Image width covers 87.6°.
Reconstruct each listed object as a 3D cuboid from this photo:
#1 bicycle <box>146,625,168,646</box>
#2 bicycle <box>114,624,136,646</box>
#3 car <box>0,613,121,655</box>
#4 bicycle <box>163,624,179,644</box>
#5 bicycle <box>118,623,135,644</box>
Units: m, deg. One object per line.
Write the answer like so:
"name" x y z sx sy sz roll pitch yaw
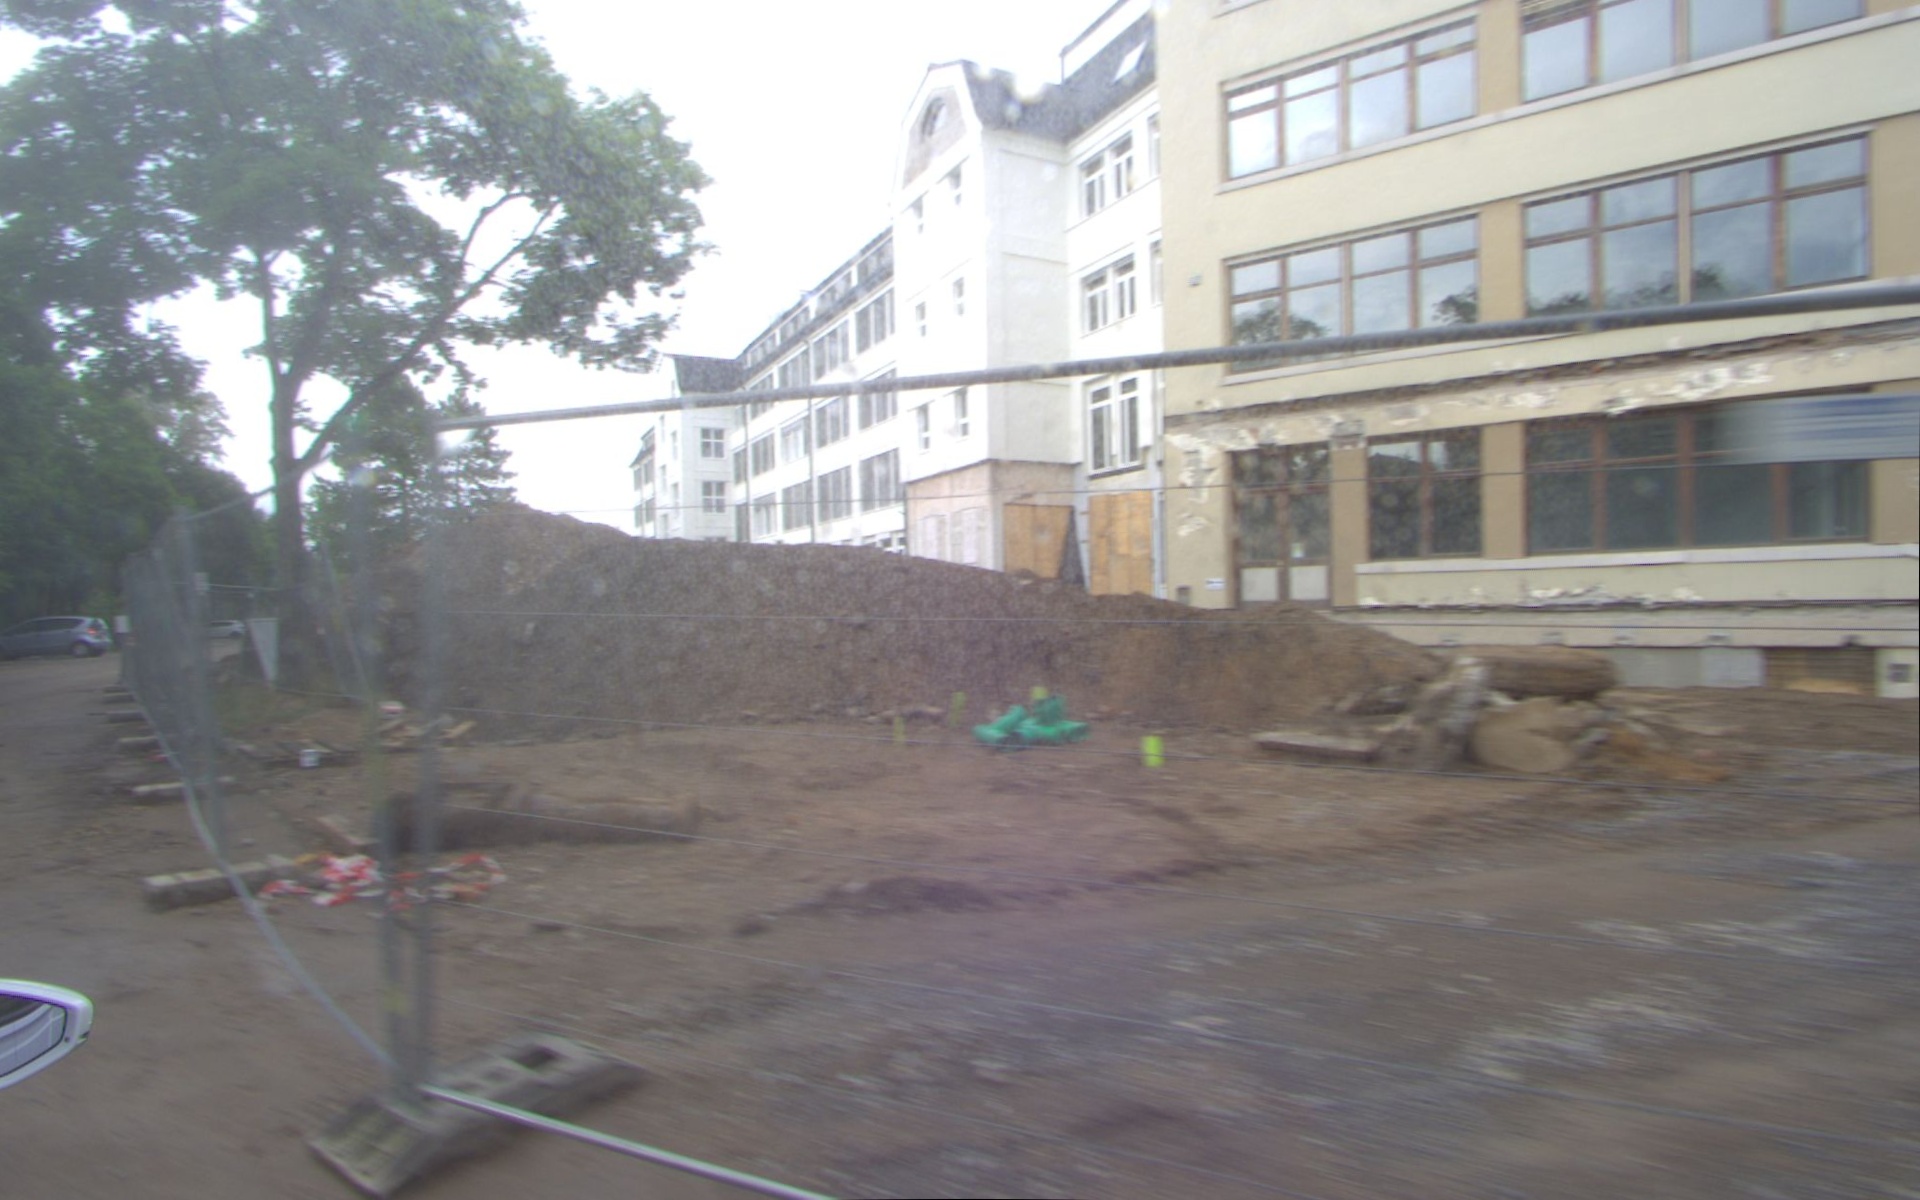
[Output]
"bicycle" -38.608 1.696 48.160 0.765 0.991 2.014 -1 0 -40
"bicycle" -39.421 1.659 47.280 0.765 0.991 2.014 -1 0 -40
"car" -34.882 1.293 38.481 3.654 1.520 1.860 -1 0 -27
"bicycle" -41.655 1.784 52.859 0.584 0.991 2.014 -1 0 -40
"bicycle" -40.951 1.655 49.191 0.584 0.991 2.014 -1 0 -40
